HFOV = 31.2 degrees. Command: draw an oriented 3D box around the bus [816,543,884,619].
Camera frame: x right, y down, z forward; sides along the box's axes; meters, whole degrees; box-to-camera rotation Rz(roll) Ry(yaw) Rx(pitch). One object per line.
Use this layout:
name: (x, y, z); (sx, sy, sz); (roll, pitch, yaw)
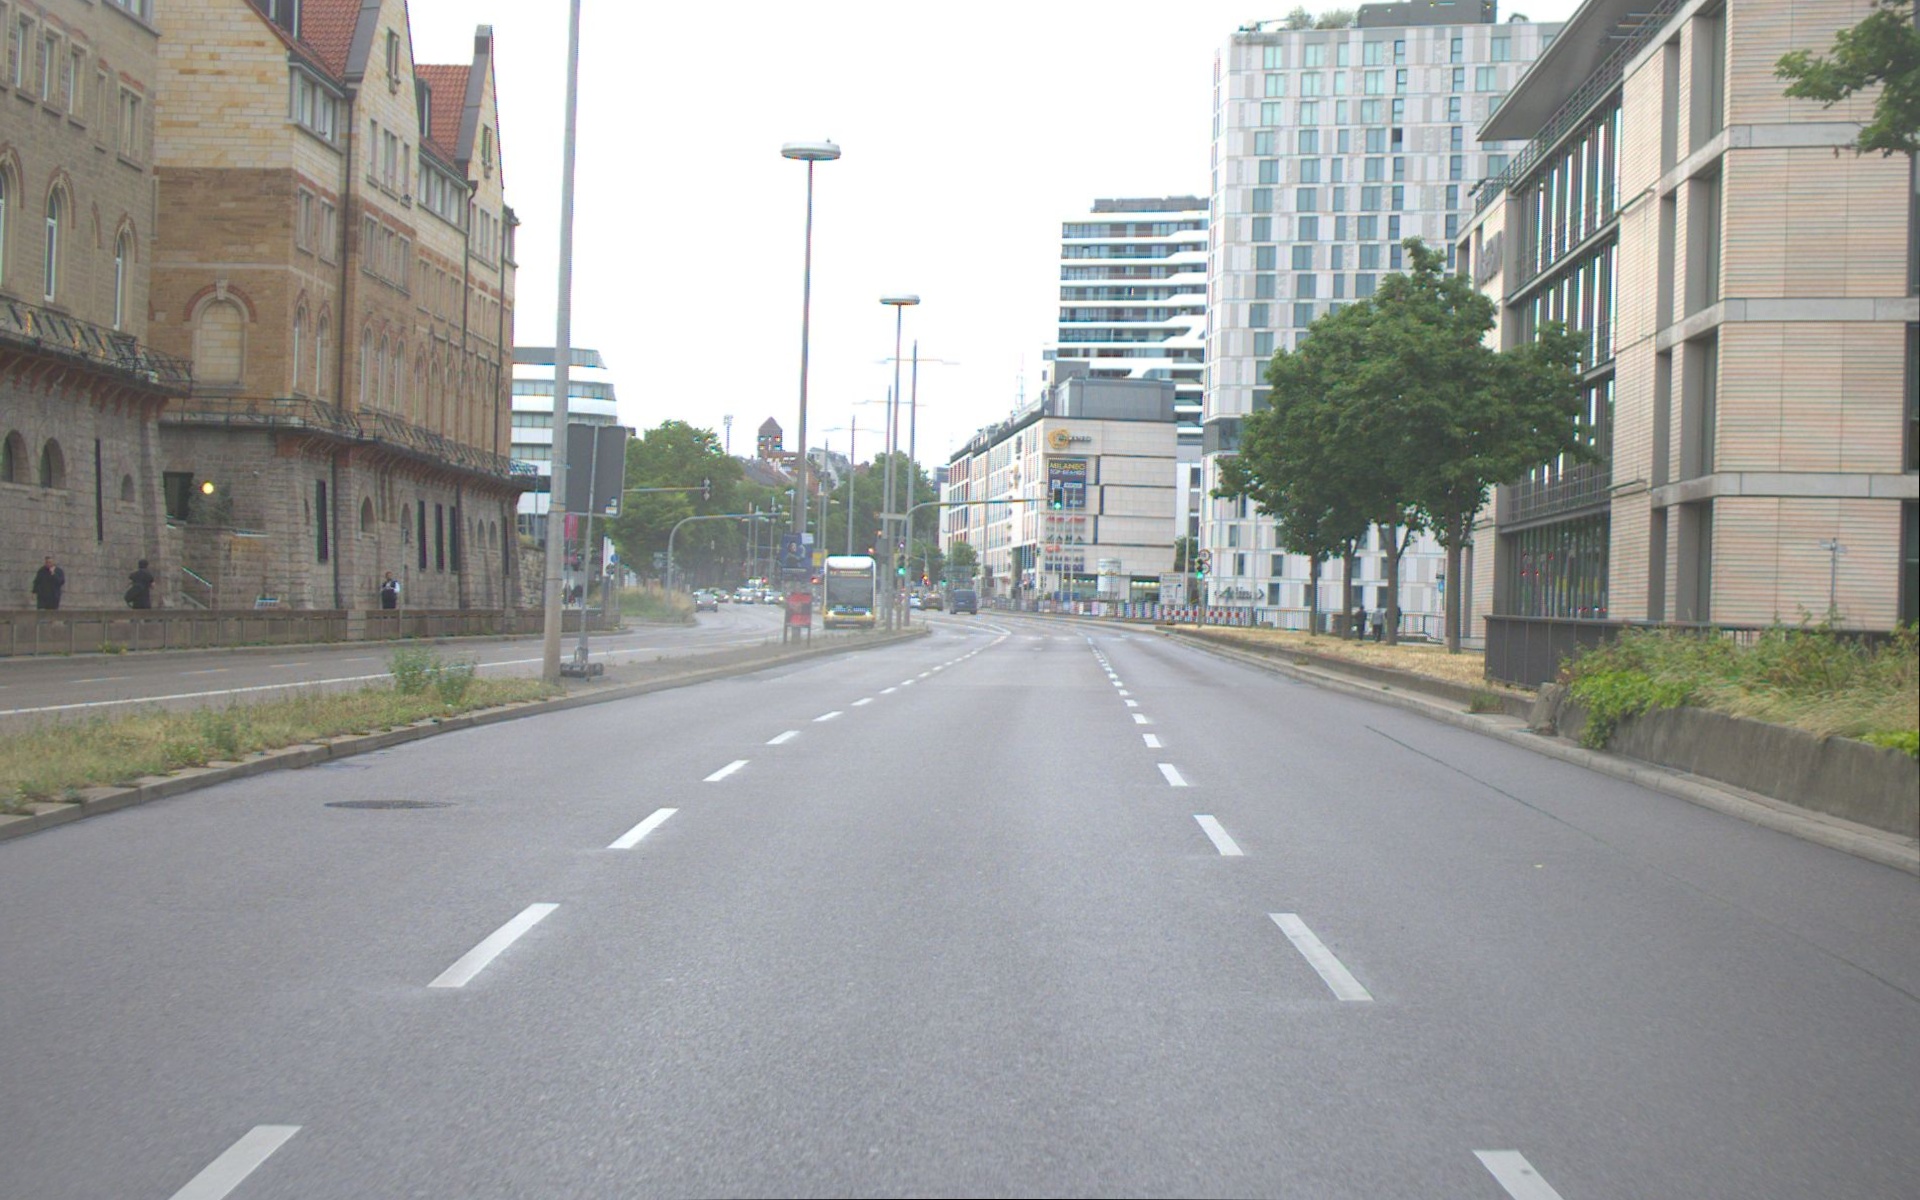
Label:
bus: (-5.308, -0.938, 167.480); (2.698, 3.547, 10.093); (1, 0, 1)

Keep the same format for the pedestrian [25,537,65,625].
pedestrian: (-18.291, -0.392, 68.716); (0.640, 1.740, 0.621); (0, 1, 0)

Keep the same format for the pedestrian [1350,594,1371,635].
pedestrian: (15.697, 0.578, 134.625); (0.550, 1.572, 0.669); (1, 2, 36)

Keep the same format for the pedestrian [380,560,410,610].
pedestrian: (-16.939, -0.456, 103.051); (0.754, 1.473, 0.714); (1, 1, 1)

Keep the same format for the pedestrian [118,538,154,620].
pedestrian: (-17.647, -0.460, 73.630); (0.640, 1.740, 0.621); (0, 1, 0)
